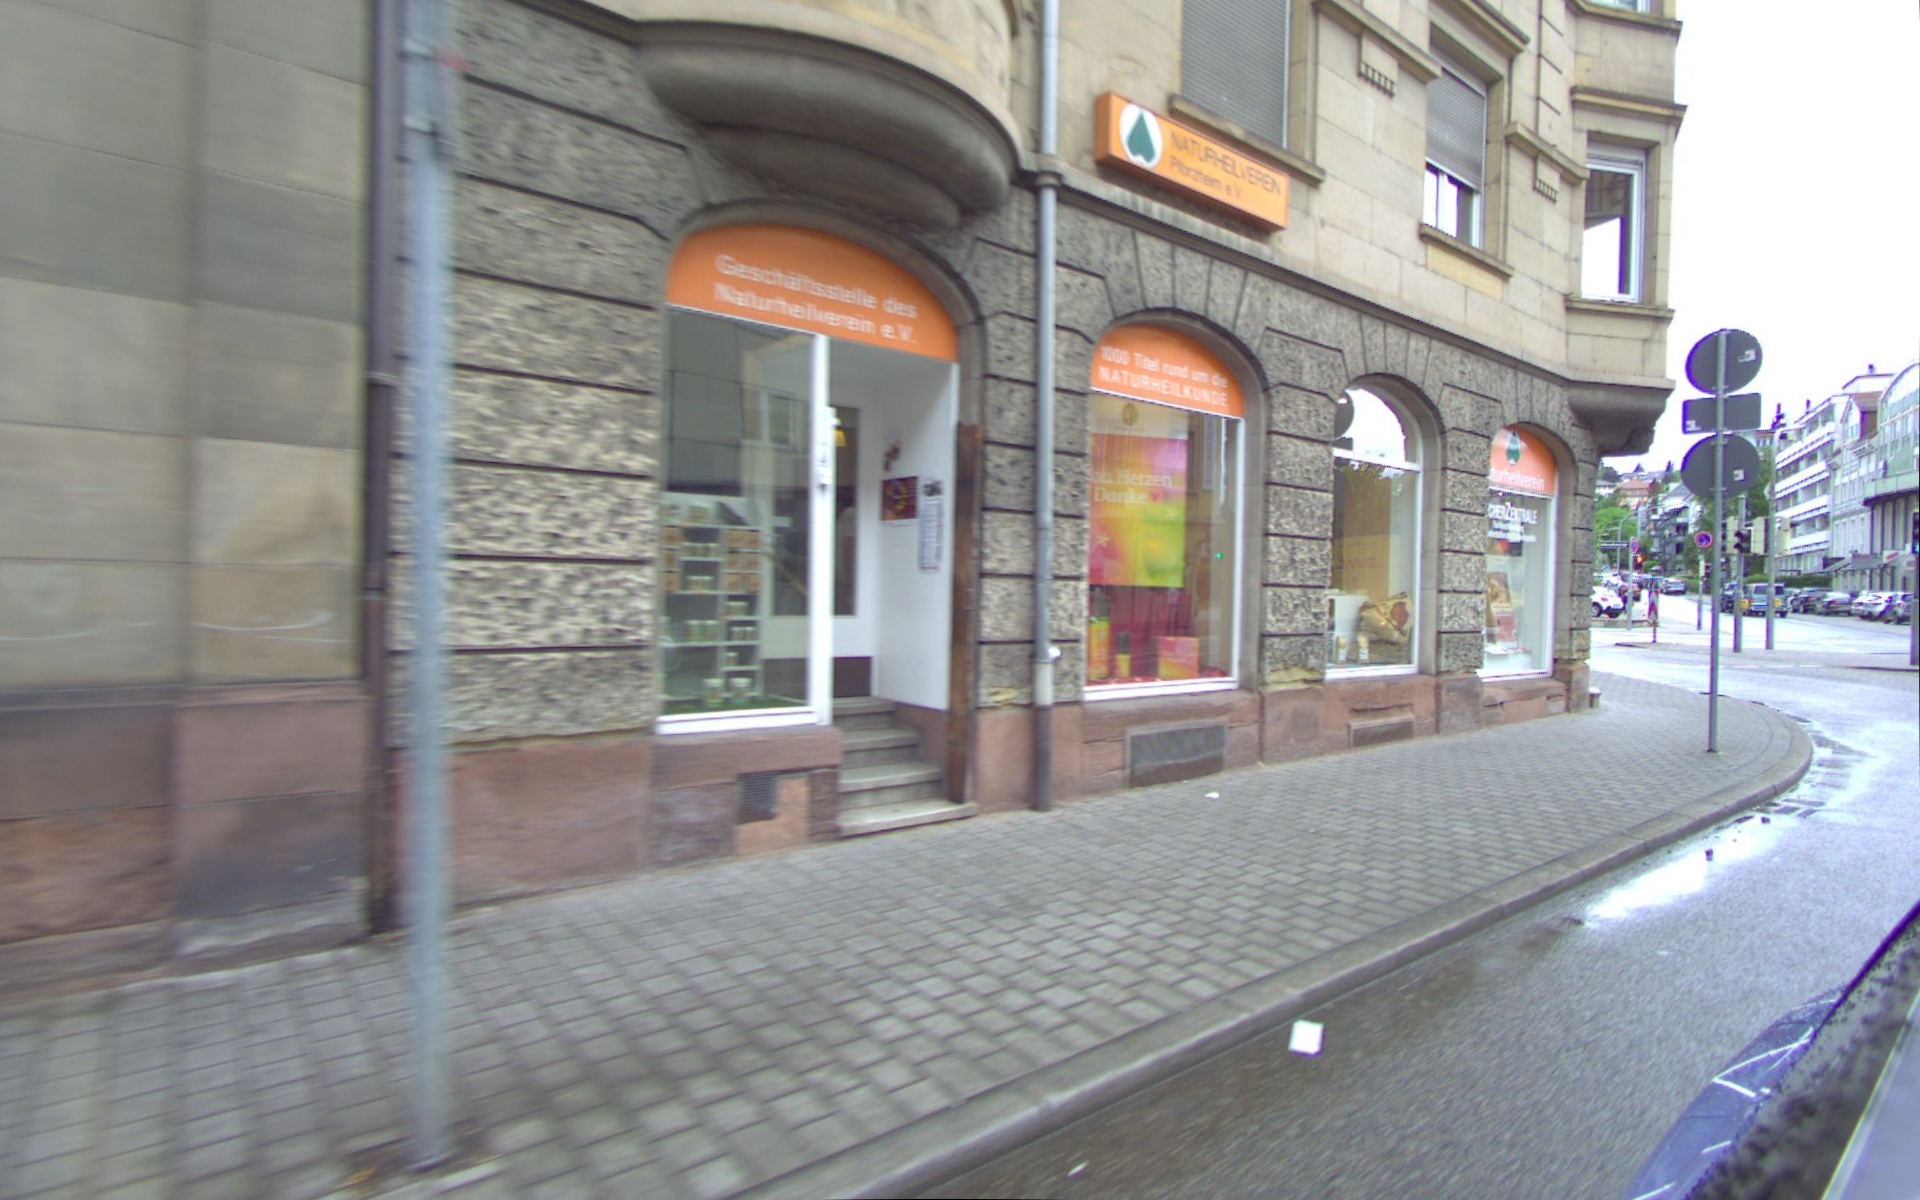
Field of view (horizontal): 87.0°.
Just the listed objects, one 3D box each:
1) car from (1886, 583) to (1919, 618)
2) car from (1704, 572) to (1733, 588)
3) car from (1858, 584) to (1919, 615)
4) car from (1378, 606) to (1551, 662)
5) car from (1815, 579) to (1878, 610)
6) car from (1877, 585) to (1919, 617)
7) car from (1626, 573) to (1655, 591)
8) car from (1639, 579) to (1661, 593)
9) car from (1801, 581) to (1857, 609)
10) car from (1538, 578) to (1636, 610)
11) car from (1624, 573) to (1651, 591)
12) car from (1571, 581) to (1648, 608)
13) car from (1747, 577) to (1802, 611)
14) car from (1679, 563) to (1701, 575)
[{"bbox_3d":[45.383,0.026,47.595,1.985,1.526,3.955,2,2,32],"label":"car"},{"bbox_3d":[79.593,-2.135,106.248,1.985,1.604,4.607,2,2,32],"label":"car"},{"bbox_3d":[49.537,0.002,52.523,3.967,1.526,1.979,2,2,31],"label":"car"},{"bbox_3d":[15.871,1.000,32.050,1.899,1.434,4.524,-1,3,-41],"label":"car"},{"bbox_3d":[51.479,-0.322,58.865,1.984,1.605,3.956,-4,-1,32],"label":"car"},{"bbox_3d":[48.552,0.066,50.307,3.967,1.526,1.979,2,2,31],"label":"car"},{"bbox_3d":[62.076,-1.679,92.400,1.985,1.604,4.607,2,2,32],"label":"car"},{"bbox_3d":[85.896,-1.749,125.936,1.985,1.604,4.607,2,2,32],"label":"car"},{"bbox_3d":[54.460,-0.328,63.475,1.985,1.604,3.956,2,2,32],"label":"car"},{"bbox_3d":[32.414,-0.339,52.427,1.764,1.513,4.008,0,2,-26],"label":"car"},{"bbox_3d":[65.003,-1.725,97.134,1.985,1.604,4.607,2,2,32],"label":"car"},{"bbox_3d":[40.368,-0.380,62.976,3.972,1.526,1.976,2,2,34],"label":"car"},{"bbox_3d":[48.672,-0.403,60.551,1.985,1.938,3.956,2,2,32],"label":"car"},{"bbox_3d":[98.511,-4.134,136.580,1.985,1.604,4.607,2,2,32],"label":"car"}]
